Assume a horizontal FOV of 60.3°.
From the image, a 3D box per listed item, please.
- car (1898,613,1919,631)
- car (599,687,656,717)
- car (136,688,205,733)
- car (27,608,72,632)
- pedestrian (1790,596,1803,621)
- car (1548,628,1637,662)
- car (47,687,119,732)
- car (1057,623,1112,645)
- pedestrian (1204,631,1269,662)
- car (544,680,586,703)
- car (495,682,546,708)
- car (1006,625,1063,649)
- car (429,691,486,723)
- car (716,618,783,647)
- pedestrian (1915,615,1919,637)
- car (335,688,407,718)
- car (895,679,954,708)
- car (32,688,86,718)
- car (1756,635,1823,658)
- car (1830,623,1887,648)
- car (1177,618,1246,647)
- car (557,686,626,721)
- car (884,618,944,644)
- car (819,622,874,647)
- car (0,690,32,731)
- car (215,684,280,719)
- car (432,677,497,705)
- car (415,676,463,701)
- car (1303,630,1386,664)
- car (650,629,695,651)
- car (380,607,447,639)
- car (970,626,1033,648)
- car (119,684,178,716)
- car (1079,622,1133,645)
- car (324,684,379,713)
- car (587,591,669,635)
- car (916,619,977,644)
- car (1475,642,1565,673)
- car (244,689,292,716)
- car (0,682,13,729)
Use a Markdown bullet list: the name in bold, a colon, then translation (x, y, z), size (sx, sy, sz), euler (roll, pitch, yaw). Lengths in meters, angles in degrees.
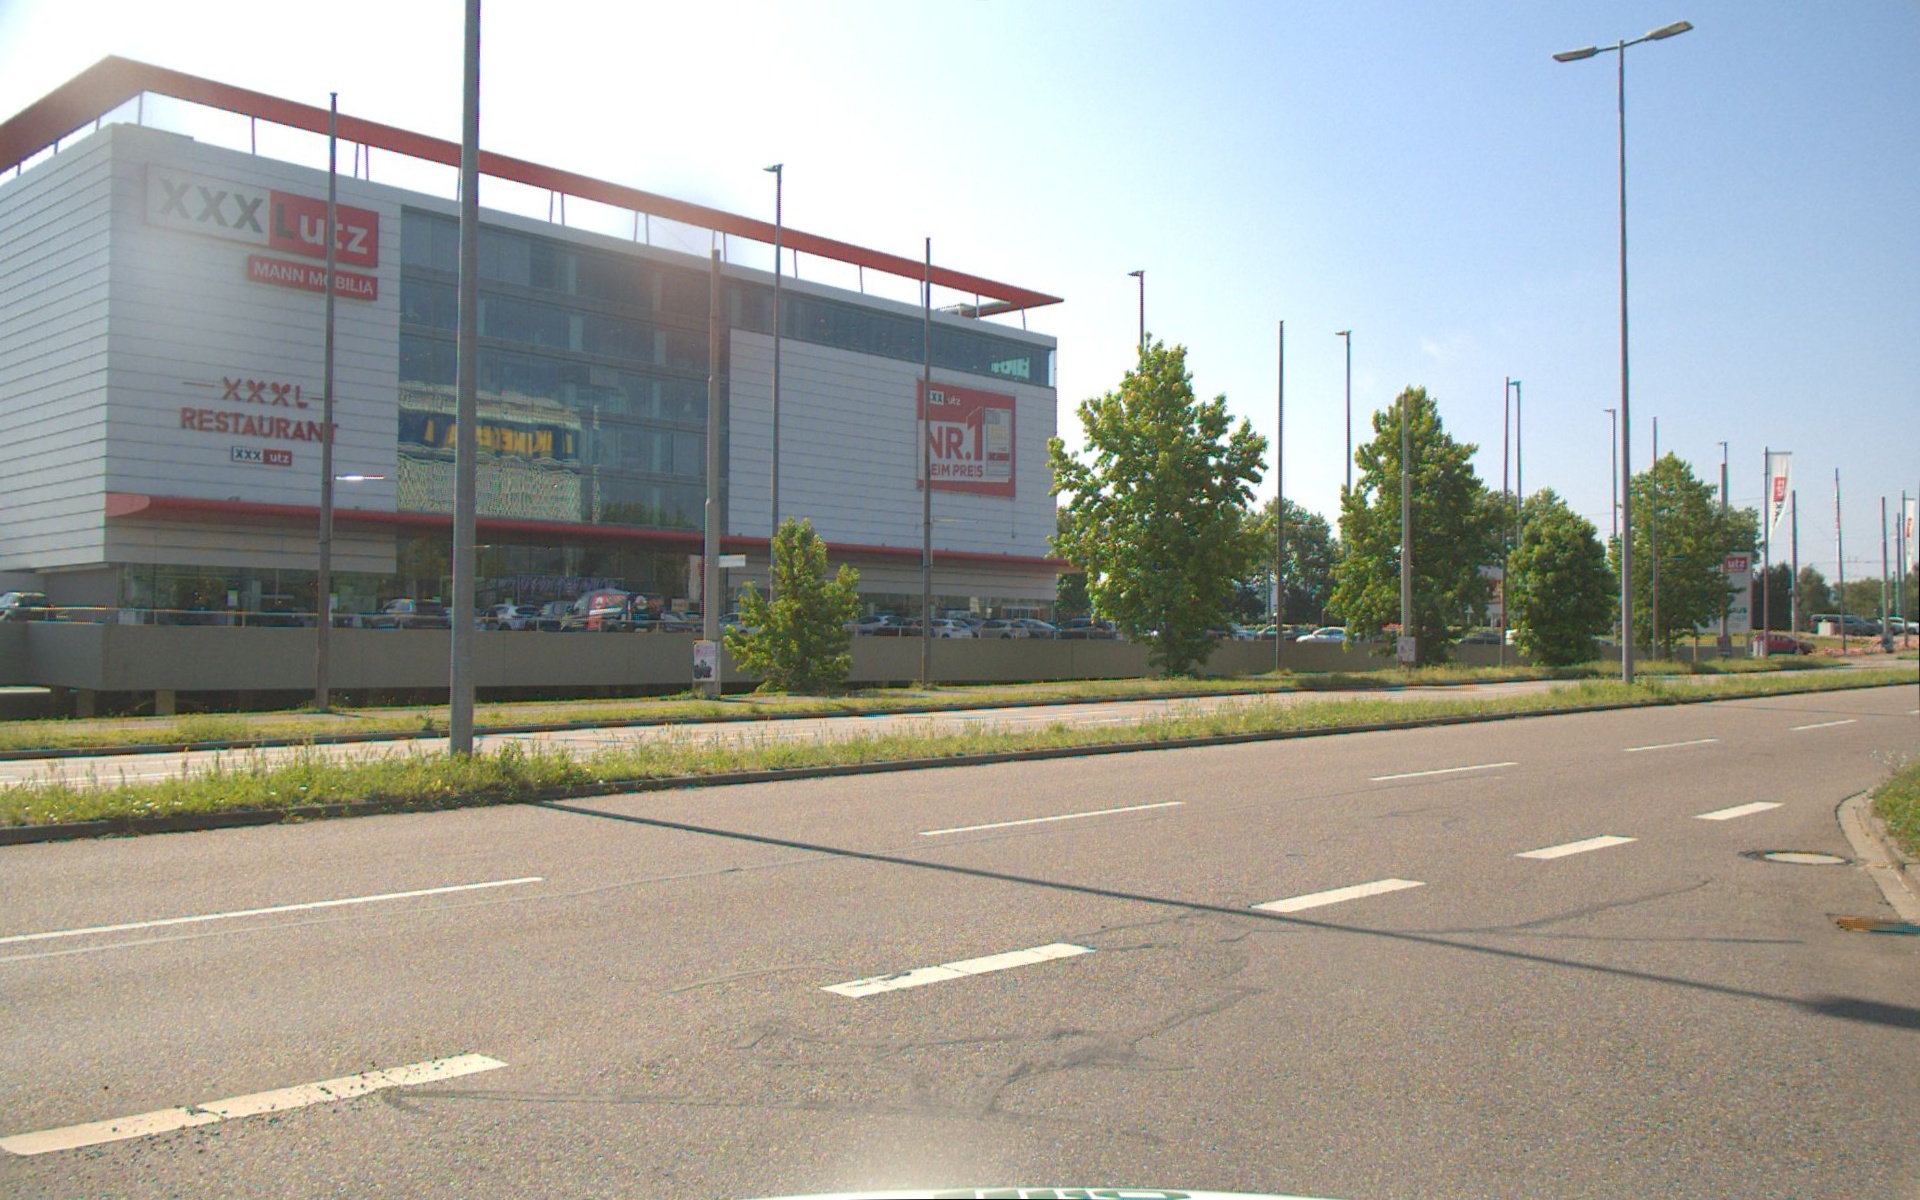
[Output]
- **car**: translation (85.056, 1.975, 146.443), size (3.290, 1.526, 1.403), euler (-1, -3, 39)
- **car**: translation (-12.036, 3.678, 59.781), size (1.907, 0.992, 1.065), euler (-1, -3, 40)
- **car**: translation (-16.955, 2.368, 35.503), size (1.478, 0.898, 0.788), euler (-1, -3, 40)
- **car**: translation (-38.856, 0.876, 70.547), size (1.907, 0.992, 1.065), euler (-1, -3, 40)
- **pedestrian**: translation (69.677, 0.726, 137.772), size (0.910, 2.007, 0.707), euler (3, -3, -43)
- **car**: translation (35.802, 2.577, 93.673), size (4.348, 1.875, 1.933), euler (-2, -3, 42)
- **car**: translation (-20.536, 2.545, 38.705), size (1.814, 0.992, 0.862), euler (-1, -3, 40)
- **car**: translation (7.507, 2.048, 99.552), size (3.042, 1.316, 1.506), euler (-1, -3, 42)
- **pedestrian**: translation (18.840, 3.157, 112.887), size (3.923, 2.049, 1.990), euler (1, -2, -17)
- **car**: translation (-18.108, 4.202, 75.878), size (1.907, 0.992, 0.917), euler (-1, -3, 40)
- **car**: translation (-17.399, 3.749, 65.463), size (1.907, 0.992, 1.065), euler (-1, -3, 40)
- **car**: translation (4.334, 2.159, 96.377), size (3.042, 1.353, 1.506), euler (-1, -3, 42)
- **car**: translation (-16.670, 3.553, 54.879), size (1.907, 0.992, 0.905), euler (-1, -3, 40)
- **car**: translation (-10.146, 1.569, 79.775), size (3.167, 1.353, 1.506), euler (-1, -3, 42)
- **pedestrian**: translation (76.066, 2.062, 130.623), size (0.895, 1.737, 0.832), euler (0, -2, -36)
- **car**: translation (-15.696, 2.735, 44.027), size (2.049, 0.746, 0.902), euler (-1, -3, 40)
- **car**: translation (-1.293, 3.380, 59.875), size (1.907, 0.992, 1.065), euler (-1, -3, 40)
- **car**: translation (-32.574, 3.708, 59.792), size (1.907, 0.992, 1.065), euler (-1, -3, 40)
- **car**: translation (60.719, 3.384, 121.065), size (4.116, 1.634, 1.818), euler (-1, -3, 38)
- **car**: translation (75.819, 2.999, 139.653), size (1.788, 1.959, 3.968), euler (0, 1, -25)
- **car**: translation (9.716, 1.271, 64.004), size (2.474, 1.078, 1.065), euler (-1, -3, 40)
- **car**: translation (-10.988, 3.072, 49.270), size (1.907, 0.992, 1.065), euler (-1, -3, 40)
- **car**: translation (-2.487, 1.672, 89.222), size (3.042, 1.353, 1.506), euler (-1, -3, 42)
- **car**: translation (-6.367, 1.955, 92.579), size (3.088, 1.353, 1.293), euler (-1, -3, 42)
- **car**: translation (-24.970, 2.872, 43.053), size (1.909, 0.992, 0.881), euler (-1, -3, 43)
- **car**: translation (-21.306, 3.031, 49.445), size (1.907, 0.992, 1.065), euler (-1, -3, 40)
- **car**: translation (-12.220, 2.238, 40.773), size (1.535, 0.631, 0.854), euler (-1, -3, 40)
- **car**: translation (-21.976, 3.718, 69.772), size (1.907, 0.992, 1.065), euler (-1, -3, 40)
- **car**: translation (23.685, 2.896, 101.966), size (4.597, 2.049, 2.019), euler (-2, -2, 40)
- **car**: translation (-13.195, 1.842, 75.851), size (1.907, 0.992, 1.065), euler (-2, -2, 40)
- **car**: translation (-23.962, 1.017, 72.531), size (2.967, 1.353, 1.506), euler (-1, -3, 42)
- **car**: translation (2.348, 2.125, 94.370), size (3.447, 1.220, 1.471), euler (-1, -3, 42)
- **car**: translation (-26.919, 3.312, 54.863), size (1.907, 0.992, 1.065), euler (-1, -3, 40)
- **car**: translation (8.967, 2.043, 101.475), size (3.042, 1.353, 1.506), euler (-1, -3, 42)
- **car**: translation (-22.148, 3.573, 60.187), size (1.907, 0.992, 1.065), euler (-1, -3, 40)
- **car**: translation (-12.386, 0.506, 61.671), size (2.726, 1.584, 1.764), euler (-2, -2, 42)
- **car**: translation (-0.757, 1.731, 91.048), size (3.042, 1.353, 1.694), euler (-1, -3, 42)
- **car**: translation (30.683, 3.134, 90.724), size (4.346, 1.656, 1.861), euler (-1, -3, 41)
- **car**: translation (-27.024, 3.979, 64.617), size (1.907, 0.992, 0.955), euler (-1, -3, 40)
- **car**: translation (-22.153, 2.363, 37.108), size (1.909, 1.026, 1.064), euler (-2, -2, 43)
